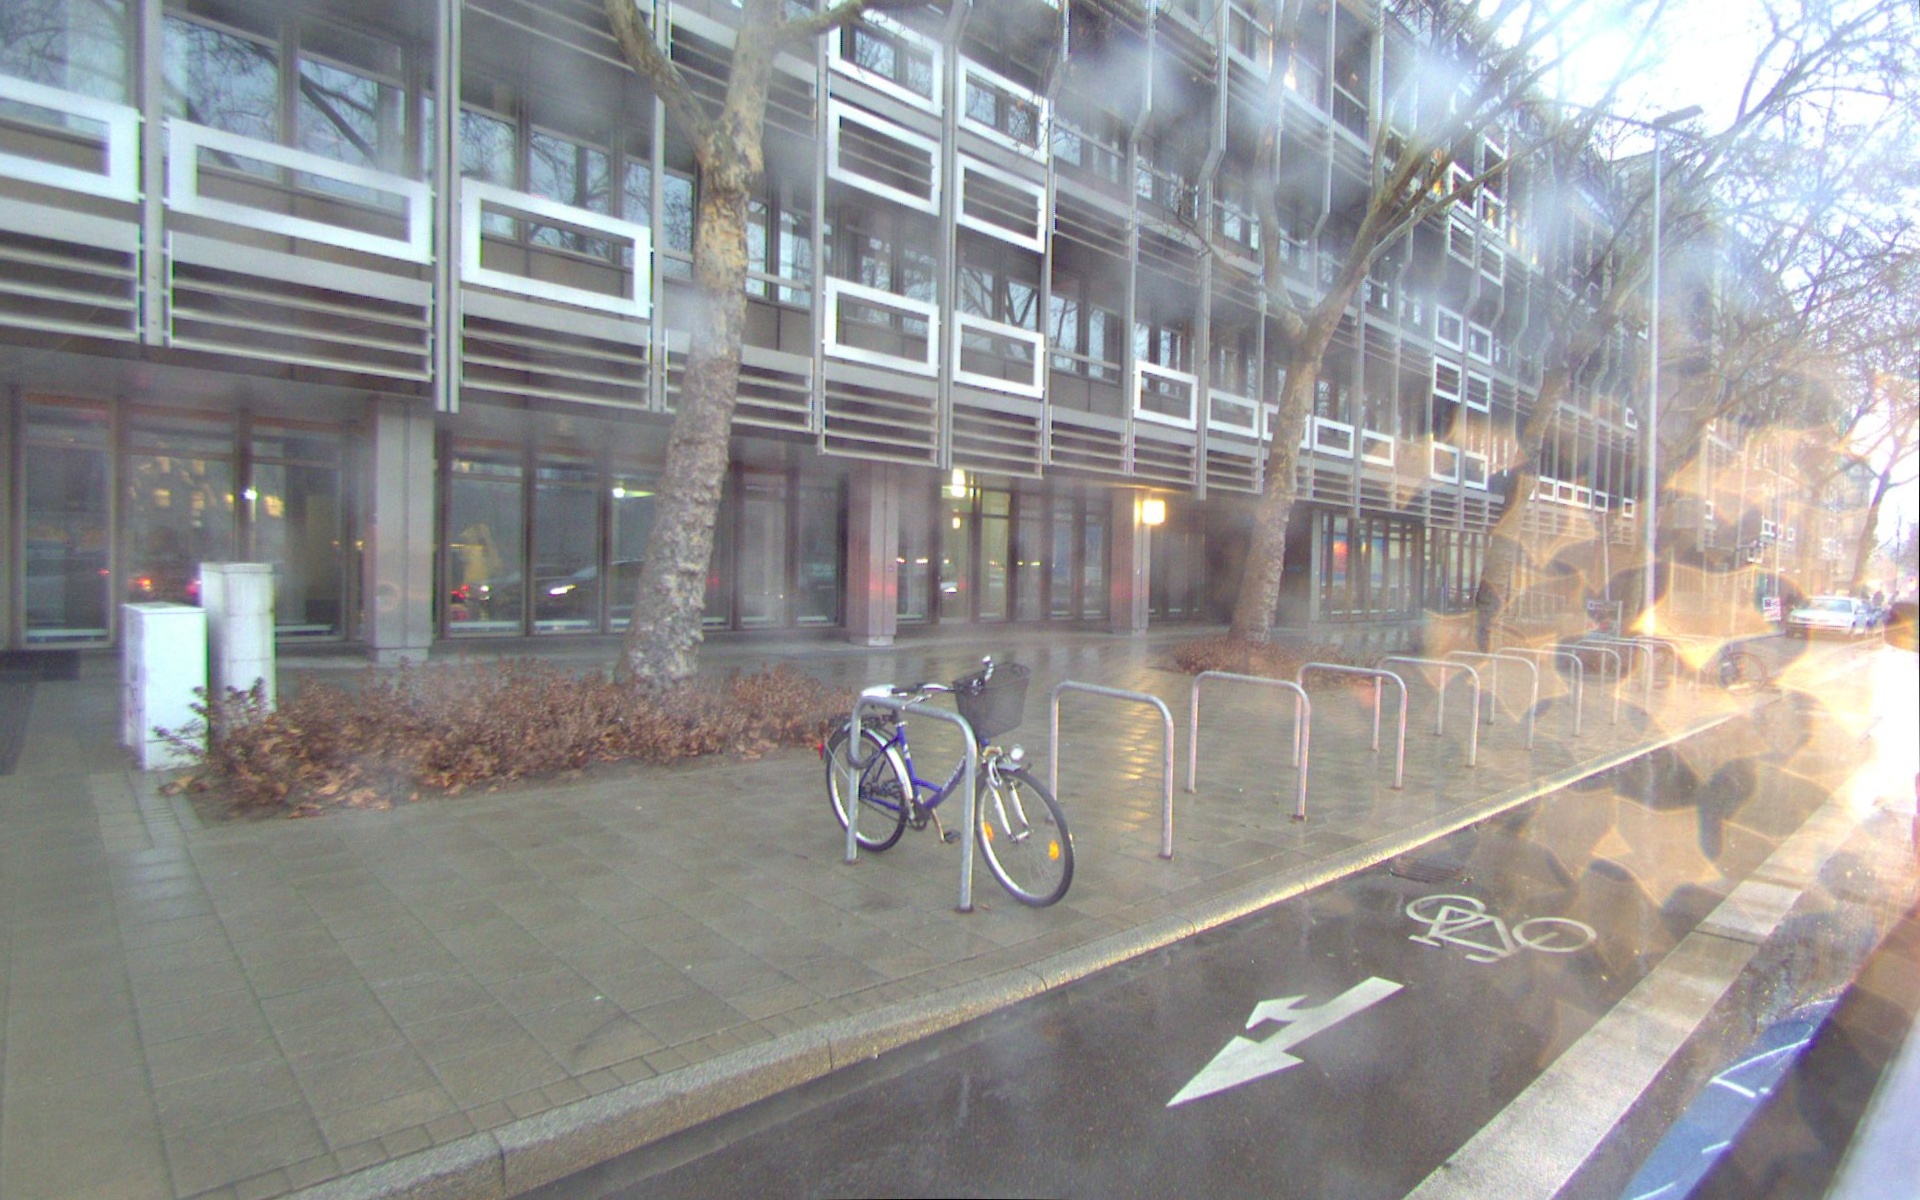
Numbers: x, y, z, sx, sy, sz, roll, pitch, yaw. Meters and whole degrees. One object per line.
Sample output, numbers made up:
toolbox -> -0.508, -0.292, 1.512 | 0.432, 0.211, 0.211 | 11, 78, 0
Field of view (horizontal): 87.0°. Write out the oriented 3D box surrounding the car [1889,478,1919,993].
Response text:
car -> 5.484, 0.474, 4.376 | 3.933, 1.864, 1.875 | -1, 0, -43

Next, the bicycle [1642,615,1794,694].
bicycle -> 11.654, 0.804, 15.597 | 0.864, 1.004, 1.704 | 0, 4, -41

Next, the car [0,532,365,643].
car -> -10.703, -0.206, 14.071 | 3.929, 1.326, 1.998 | 0, 3, -40

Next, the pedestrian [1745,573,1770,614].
pedestrian -> 43.271, -0.356, 54.932 | 1.056, 2.222, 1.096 | 0, 0, 38

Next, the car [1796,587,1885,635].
car -> 29.361, 0.327, 33.732 | 3.930, 1.482, 1.711 | -1, 1, -41

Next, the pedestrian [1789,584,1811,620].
pedestrian -> 42.046, 0.100, 50.658 | 0.765, 1.771, 0.913 | 2, 2, 45

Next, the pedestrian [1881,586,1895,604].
pedestrian -> 71.507, -0.407, 77.997 | 0.777, 1.354, 0.718 | 0, 0, -41

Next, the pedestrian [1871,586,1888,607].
pedestrian -> 60.578, -0.240, 66.670 | 0.738, 1.354, 0.781 | 0, 0, -41

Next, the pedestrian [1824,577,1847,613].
pedestrian -> 44.750, -0.266, 51.723 | 0.765, 1.771, 0.913 | 2, 2, 45

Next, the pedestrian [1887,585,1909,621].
pedestrian -> 47.145, 0.136, 50.868 | 0.765, 1.771, 0.913 | 2, 2, 45

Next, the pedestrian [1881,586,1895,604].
pedestrian -> 70.093, -0.384, 76.434 | 0.777, 1.354, 0.718 | 0, 0, -41

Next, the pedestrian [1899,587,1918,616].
pedestrian -> 58.154, 0.088, 62.033 | 0.765, 1.771, 0.913 | 2, 2, 45

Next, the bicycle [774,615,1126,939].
bicycle -> -0.133, 0.717, 4.873 | 0.629, 1.145, 1.810 | 2, 2, -41
